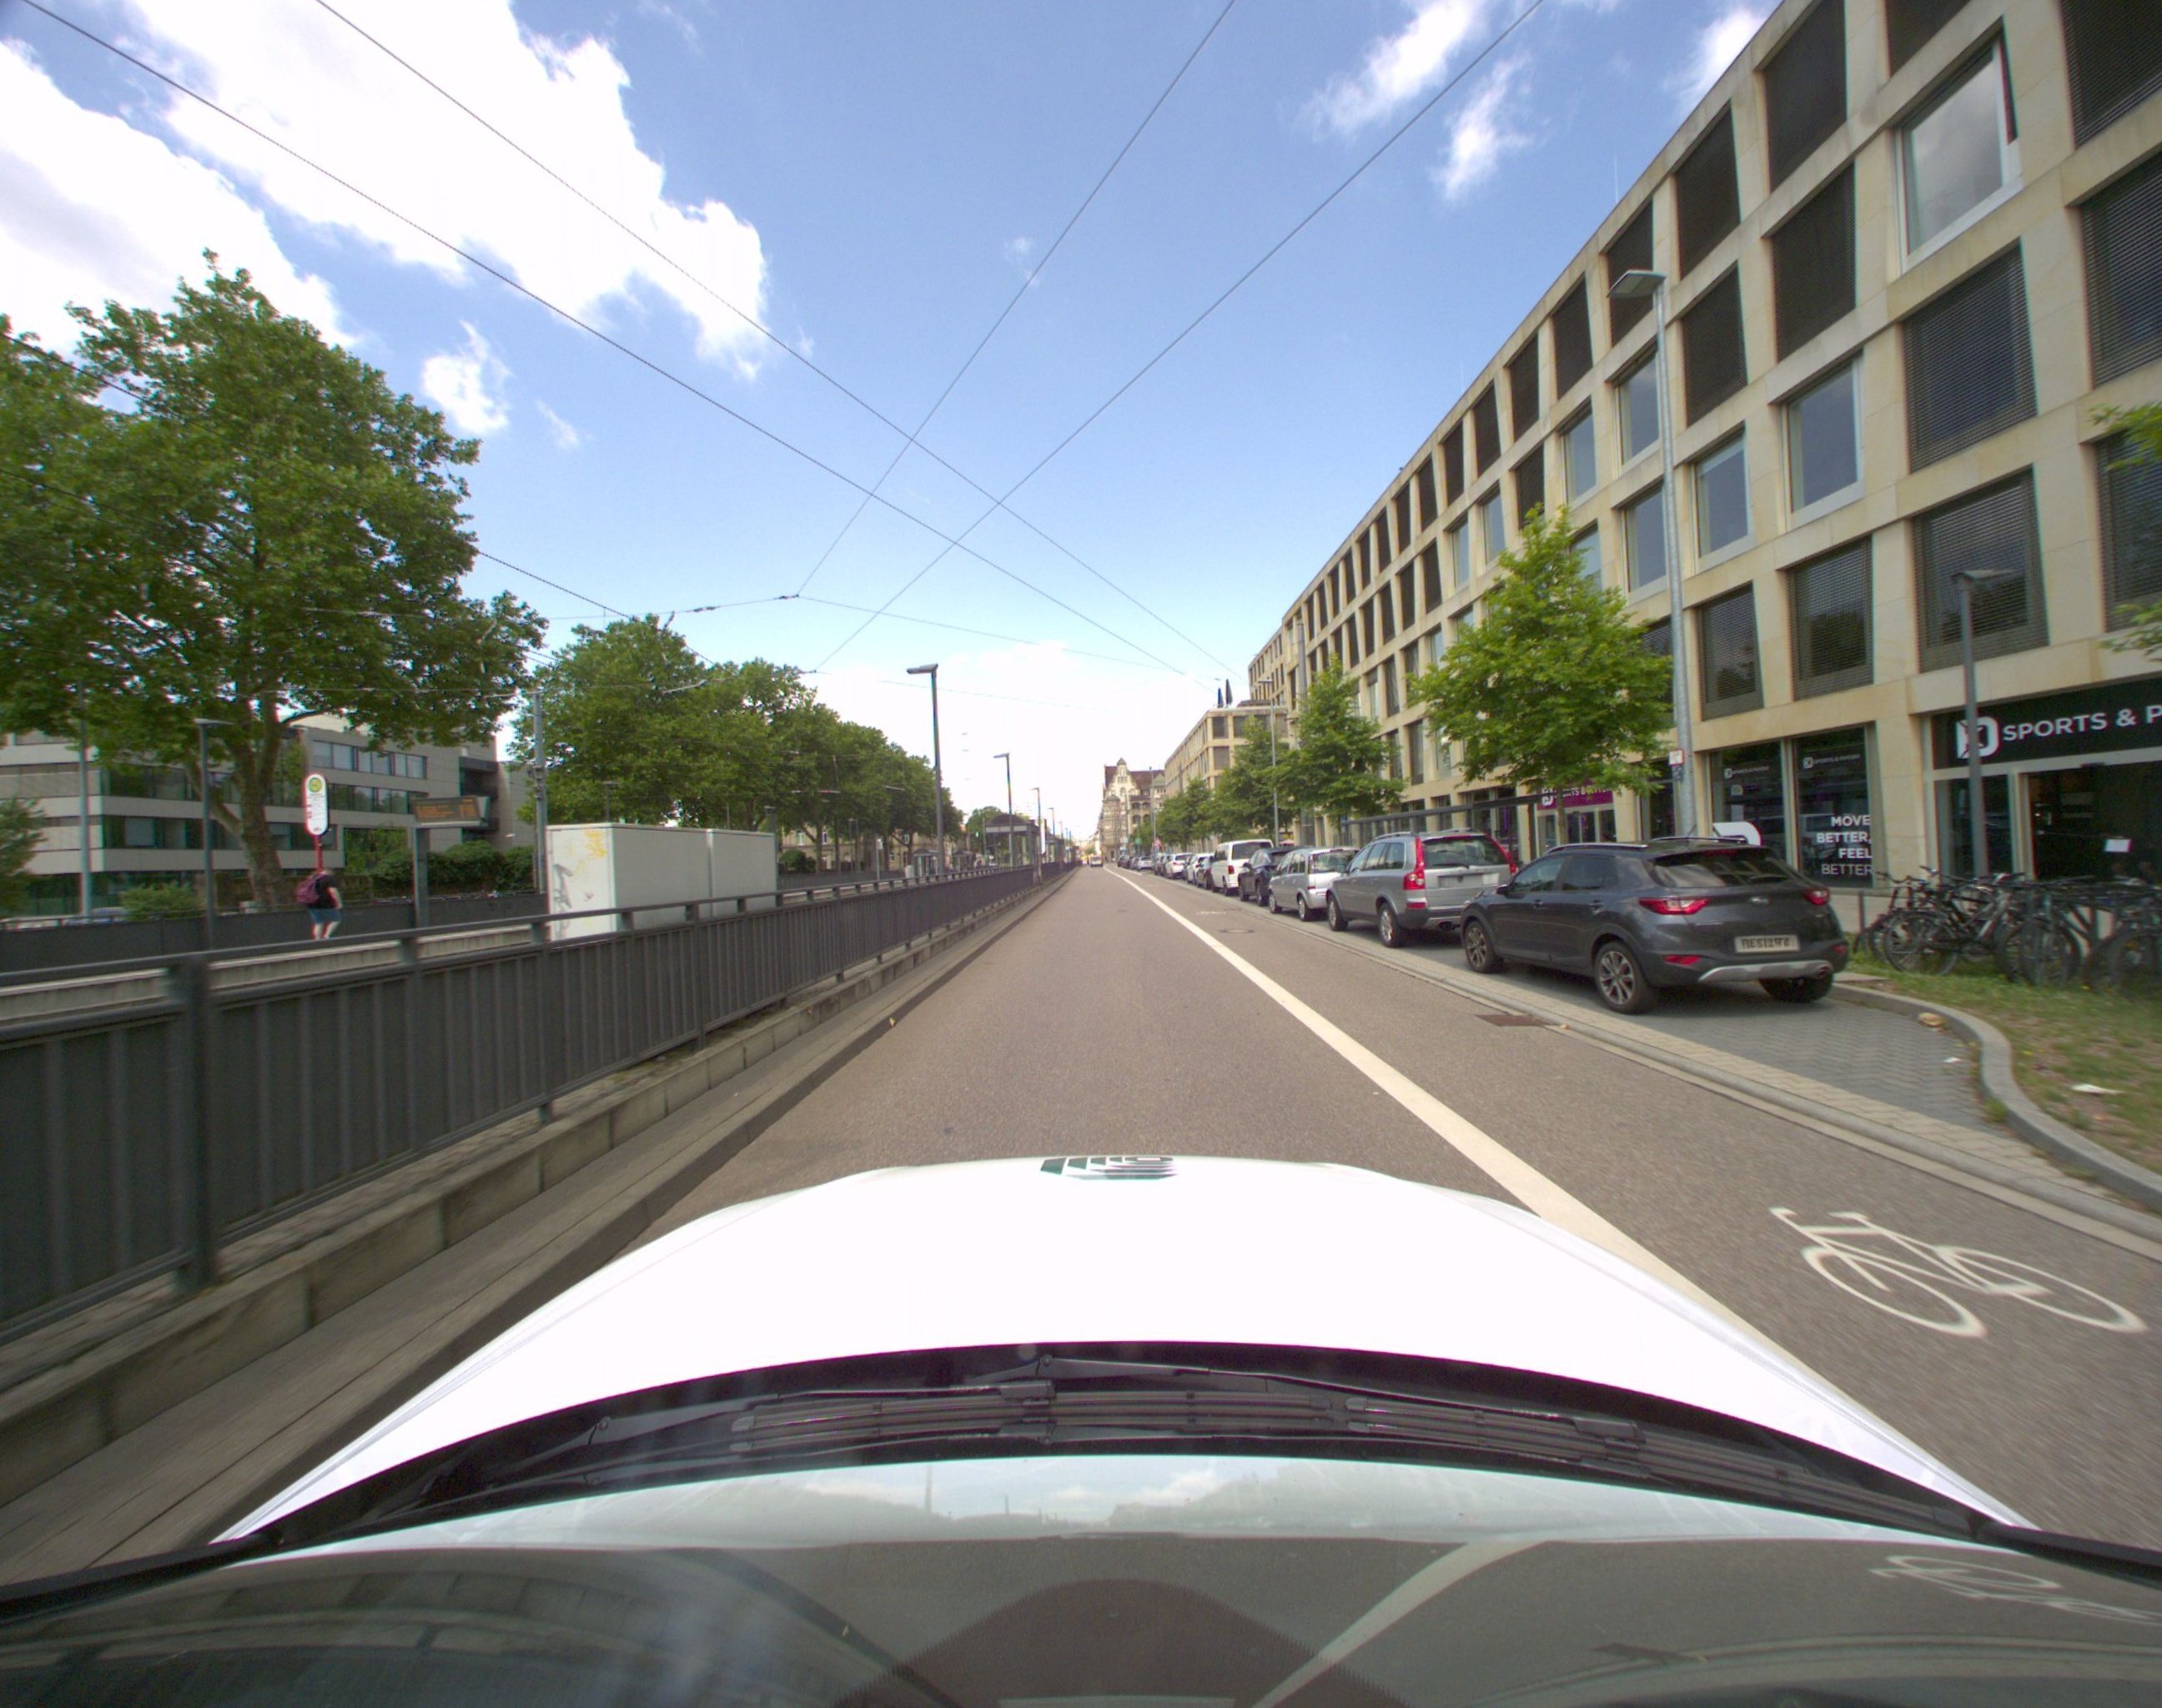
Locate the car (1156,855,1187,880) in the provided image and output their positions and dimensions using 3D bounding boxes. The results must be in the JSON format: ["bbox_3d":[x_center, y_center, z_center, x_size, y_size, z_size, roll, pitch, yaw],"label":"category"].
[{"bbox_3d":[6.290,0.942,56.985,1.680,1.548,3.926,-5,0,1],"label":"car"}]

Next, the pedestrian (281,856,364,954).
[{"bbox_3d":[-15.036,0.987,16.176,0.704,1.844,0.864,-3,1,-1],"label":"pedestrian"}]

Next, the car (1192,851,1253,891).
[{"bbox_3d":[6.175,0.699,36.019,1.875,1.487,4.563,-4,0,1],"label":"car"}]

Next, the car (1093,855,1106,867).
[{"bbox_3d":[2.742,1.108,124.734,1.863,1.746,4.000,-2,0,0],"label":"car"}]

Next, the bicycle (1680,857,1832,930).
[{"bbox_3d":[9.665,0.555,11.683,1.836,0.994,0.439,1,0,-1],"label":"bicycle"}]

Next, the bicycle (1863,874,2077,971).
[{"bbox_3d":[9.535,0.719,8.759,1.836,0.939,0.439,-2,0,-1],"label":"bicycle"}]

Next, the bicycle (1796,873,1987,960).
[{"bbox_3d":[9.626,0.730,9.696,1.836,0.939,0.439,-2,0,-1],"label":"bicycle"}]

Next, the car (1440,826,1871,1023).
[{"bbox_3d":[5.576,0.568,8.663,1.685,1.504,4.068,-3,0,1],"label":"car"}]

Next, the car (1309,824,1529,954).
[{"bbox_3d":[5.525,0.490,14.103,1.763,1.767,4.840,-3,0,1],"label":"car"}]

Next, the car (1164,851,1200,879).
[{"bbox_3d":[6.349,0.650,51.428,1.680,1.606,4.152,-4,0,1],"label":"car"}]

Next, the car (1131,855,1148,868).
[{"bbox_3d":[6.808,0.904,95.395,1.587,1.434,4.105,-1,0,-1],"label":"car"}]

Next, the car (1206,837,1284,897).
[{"bbox_3d":[6.029,0.445,30.550,1.875,1.939,4.843,-4,0,1],"label":"car"}]

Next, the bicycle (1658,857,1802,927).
[{"bbox_3d":[9.672,0.554,12.159,1.836,0.994,0.439,1,0,-1],"label":"bicycle"}]

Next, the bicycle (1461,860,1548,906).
[{"bbox_3d":[10.028,0.686,19.292,1.836,1.056,0.439,-1,0,-1],"label":"bicycle"}]

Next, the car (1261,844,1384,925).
[{"bbox_3d":[5.577,0.649,19.296,1.715,1.619,3.860,-3,0,1],"label":"car"}]

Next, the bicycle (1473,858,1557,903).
[{"bbox_3d":[10.707,0.649,20.115,1.836,1.056,0.439,-1,0,-1],"label":"bicycle"}]

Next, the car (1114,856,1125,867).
[{"bbox_3d":[5.739,1.116,122.232,1.439,1.470,4.090,-1,0,-1],"label":"car"}]

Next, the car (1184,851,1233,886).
[{"bbox_3d":[6.402,0.701,41.302,1.787,1.529,4.159,-5,0,1],"label":"car"}]

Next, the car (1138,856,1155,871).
[{"bbox_3d":[6.714,0.985,84.064,1.585,1.460,3.614,-2,0,2],"label":"car"}]

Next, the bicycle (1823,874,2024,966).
[{"bbox_3d":[9.541,0.736,9.247,1.836,0.939,0.439,-2,0,-1],"label":"bicycle"}]

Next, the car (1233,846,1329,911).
[{"bbox_3d":[5.851,0.662,24.388,1.715,1.640,4.527,-4,0,1],"label":"car"}]

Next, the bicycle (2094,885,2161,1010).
[{"bbox_3d":[9.491,0.732,6.700,1.836,0.957,0.381,-2,0,-1],"label":"bicycle"}]

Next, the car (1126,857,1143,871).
[{"bbox_3d":[6.622,1.184,101.227,1.733,1.669,4.838,-1,0,-1],"label":"car"}]

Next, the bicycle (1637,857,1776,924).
[{"bbox_3d":[9.679,0.554,12.628,1.836,0.994,0.439,1,0,-1],"label":"bicycle"}]

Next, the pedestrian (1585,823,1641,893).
[{"bbox_3d":[12.279,0.087,18.808,0.635,1.551,0.905,-3,0,0],"label":"pedestrian"}]

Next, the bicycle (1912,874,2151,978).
[{"bbox_3d":[9.595,0.714,8.249,1.836,0.939,0.512,-2,0,-1],"label":"bicycle"}]

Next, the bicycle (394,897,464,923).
[{"bbox_3d":[-31.582,2.709,39.439,3.024,1.167,0.635,0,0,5],"label":"bicycle"}]

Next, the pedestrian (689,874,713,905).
[{"bbox_3d":[-16.070,1.496,34.430,0.550,1.269,0.768,-3,0,2],"label":"pedestrian"}]

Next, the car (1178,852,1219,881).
[{"bbox_3d":[6.645,0.687,46.317,1.680,1.457,3.951,-5,0,1],"label":"car"}]

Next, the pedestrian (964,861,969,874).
[{"bbox_3d":[-14.622,1.714,103.938,0.498,1.558,0.643,-3,0,1],"label":"pedestrian"}]

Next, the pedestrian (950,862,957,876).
[{"bbox_3d":[-14.167,1.627,90.614,0.701,1.512,0.801,-4,0,-8],"label":"pedestrian"}]

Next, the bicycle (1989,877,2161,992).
[{"bbox_3d":[9.505,0.713,7.450,1.836,0.939,0.512,-2,0,-1],"label":"bicycle"}]
